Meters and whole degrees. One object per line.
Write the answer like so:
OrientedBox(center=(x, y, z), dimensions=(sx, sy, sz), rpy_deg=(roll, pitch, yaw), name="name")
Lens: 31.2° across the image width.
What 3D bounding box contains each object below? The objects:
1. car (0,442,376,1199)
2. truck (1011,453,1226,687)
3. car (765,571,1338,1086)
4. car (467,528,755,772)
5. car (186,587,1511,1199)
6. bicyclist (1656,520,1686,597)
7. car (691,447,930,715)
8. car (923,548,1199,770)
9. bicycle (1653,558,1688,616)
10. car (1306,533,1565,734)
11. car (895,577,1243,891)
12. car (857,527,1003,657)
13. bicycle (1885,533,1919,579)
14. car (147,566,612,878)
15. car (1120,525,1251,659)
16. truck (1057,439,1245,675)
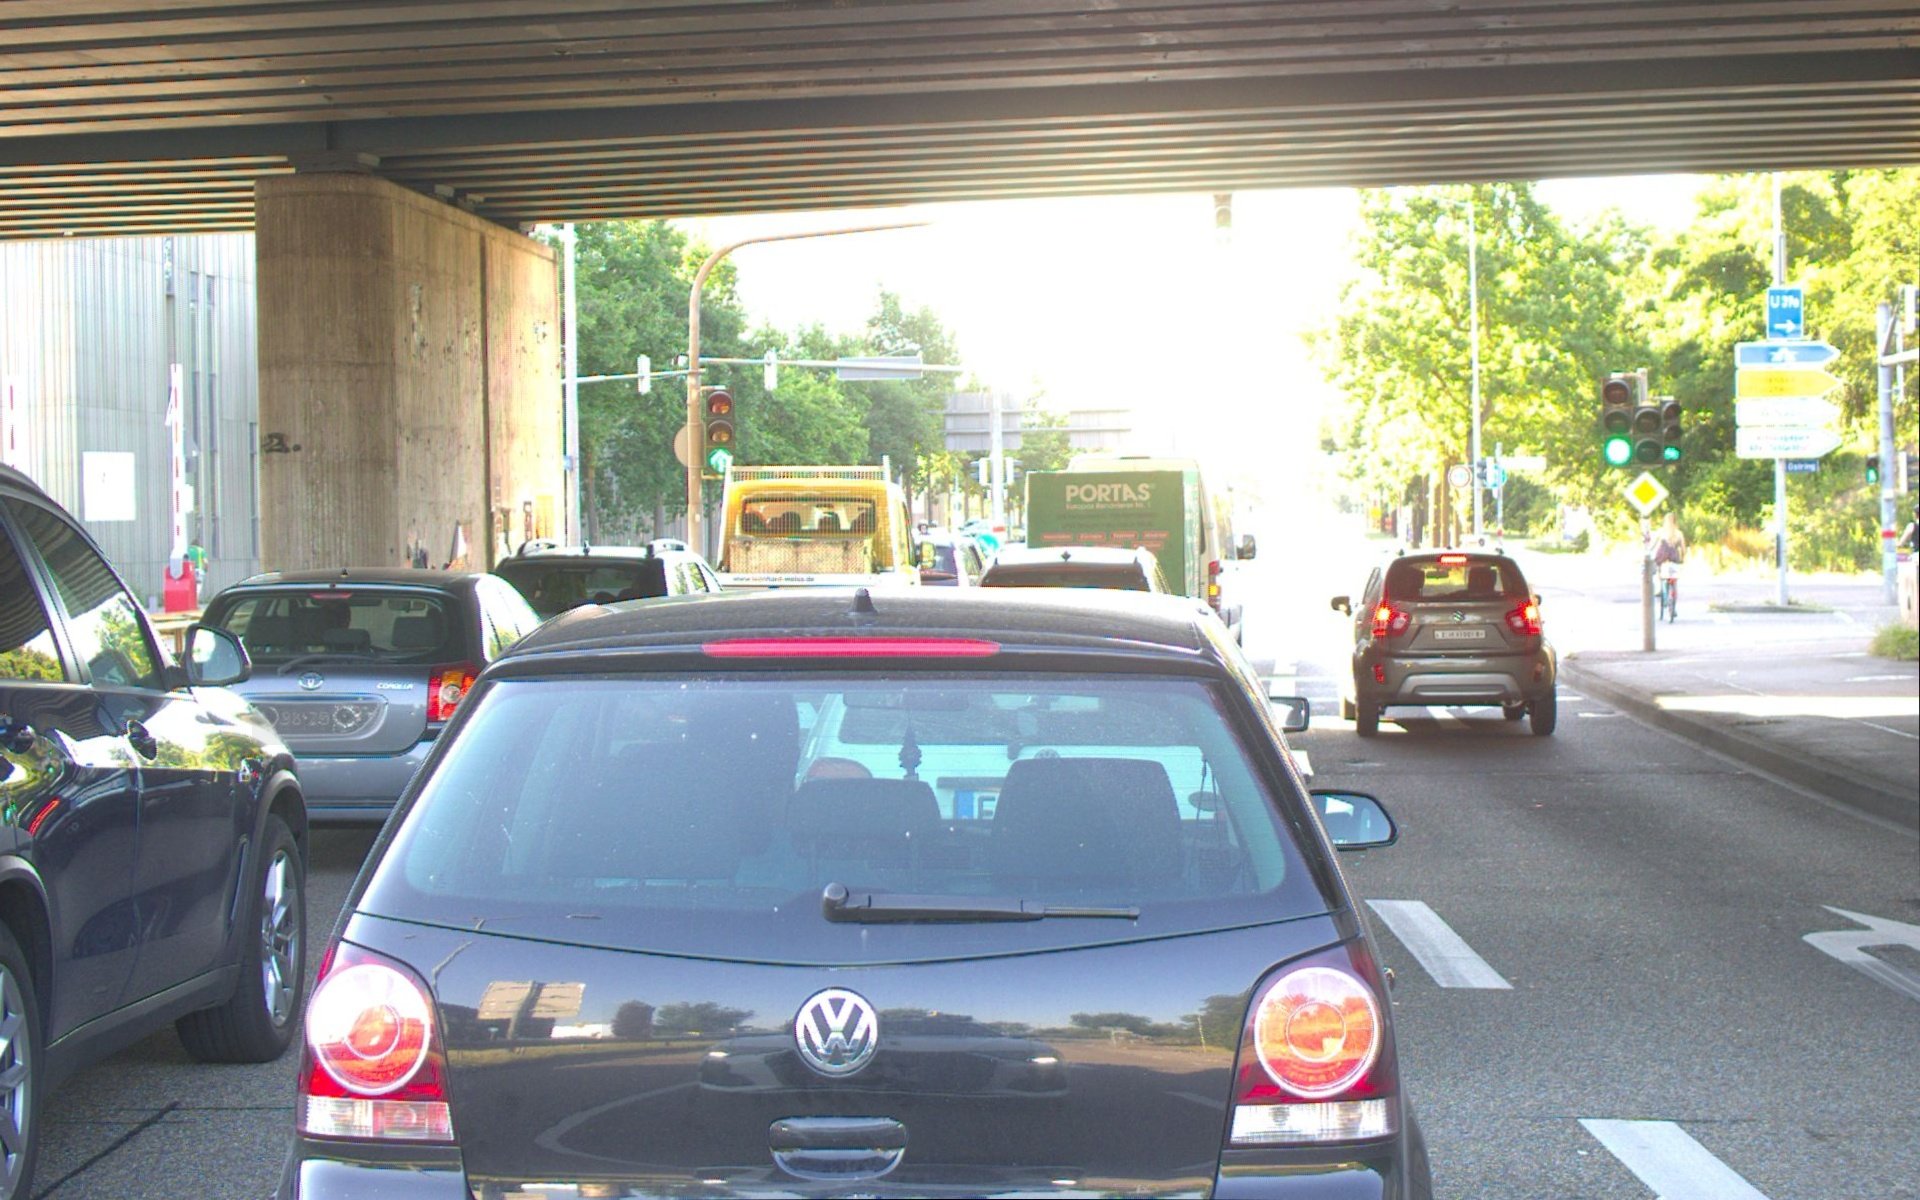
OrientedBox(center=(-2.896, 0.516, 8.369), dimensions=(1.994, 1.728, 4.532), rpy_deg=(1, 1, 2), name="car")
OrientedBox(center=(1.737, -0.318, 36.347), dimensions=(1.996, 2.307, 3.999), rpy_deg=(1, 1, 6), name="truck")
OrientedBox(center=(0.281, 0.619, 11.620), dimensions=(1.578, 1.408, 4.062), rpy_deg=(1, 1, 1), name="car")
OrientedBox(center=(-2.540, 0.329, 25.733), dimensions=(1.616, 1.673, 3.683), rpy_deg=(1, 1, 2), name="car")
OrientedBox(center=(-0.075, 0.702, 6.054), dimensions=(1.616, 1.405, 3.683), rpy_deg=(1, 1, 2), name="car")
OrientedBox(center=(11.484, -0.672, 55.525), dimensions=(0.427, 1.229, 0.460), rpy_deg=(-1, 0, 6), name="bicyclist")
OrientedBox(center=(-1.469, -0.206, 35.837), dimensions=(2.137, 2.567, 5.087), rpy_deg=(1, 1, 1), name="car")
OrientedBox(center=(0.855, 0.400, 26.533), dimensions=(1.796, 1.553, 3.999), rpy_deg=(1, 1, 6), name="car")
OrientedBox(center=(11.478, -0.210, 55.539), dimensions=(0.437, 0.911, 1.026), rpy_deg=(-2, 0, 6), name="bicycle")
OrientedBox(center=(4.099, 0.254, 30.194), dimensions=(1.737, 1.625, 4.062), rpy_deg=(1, 1, 1), name="car")
OrientedBox(center=(0.528, 0.604, 17.829), dimensions=(1.578, 1.408, 4.062), rpy_deg=(1, 1, 1), name="car")
OrientedBox(center=(-0.370, -0.121, 46.637), dimensions=(1.617, 1.673, 3.682), rpy_deg=(1, 1, 5), name="car")
OrientedBox(center=(21.664, -1.003, 77.163), dimensions=(1.664, 0.988, 0.577), rpy_deg=(-1, 4, 23), name="bicycle")
OrientedBox(center=(-2.842, 0.539, 17.553), dimensions=(1.616, 1.405, 3.683), rpy_deg=(1, 1, 2), name="car")
OrientedBox(center=(3.014, -0.122, 45.452), dimensions=(1.617, 1.673, 3.682), rpy_deg=(1, 1, 5), name="car")
OrientedBox(center=(2.324, -0.508, 40.981), dimensions=(1.996, 2.659, 3.999), rpy_deg=(1, 1, 6), name="truck")
